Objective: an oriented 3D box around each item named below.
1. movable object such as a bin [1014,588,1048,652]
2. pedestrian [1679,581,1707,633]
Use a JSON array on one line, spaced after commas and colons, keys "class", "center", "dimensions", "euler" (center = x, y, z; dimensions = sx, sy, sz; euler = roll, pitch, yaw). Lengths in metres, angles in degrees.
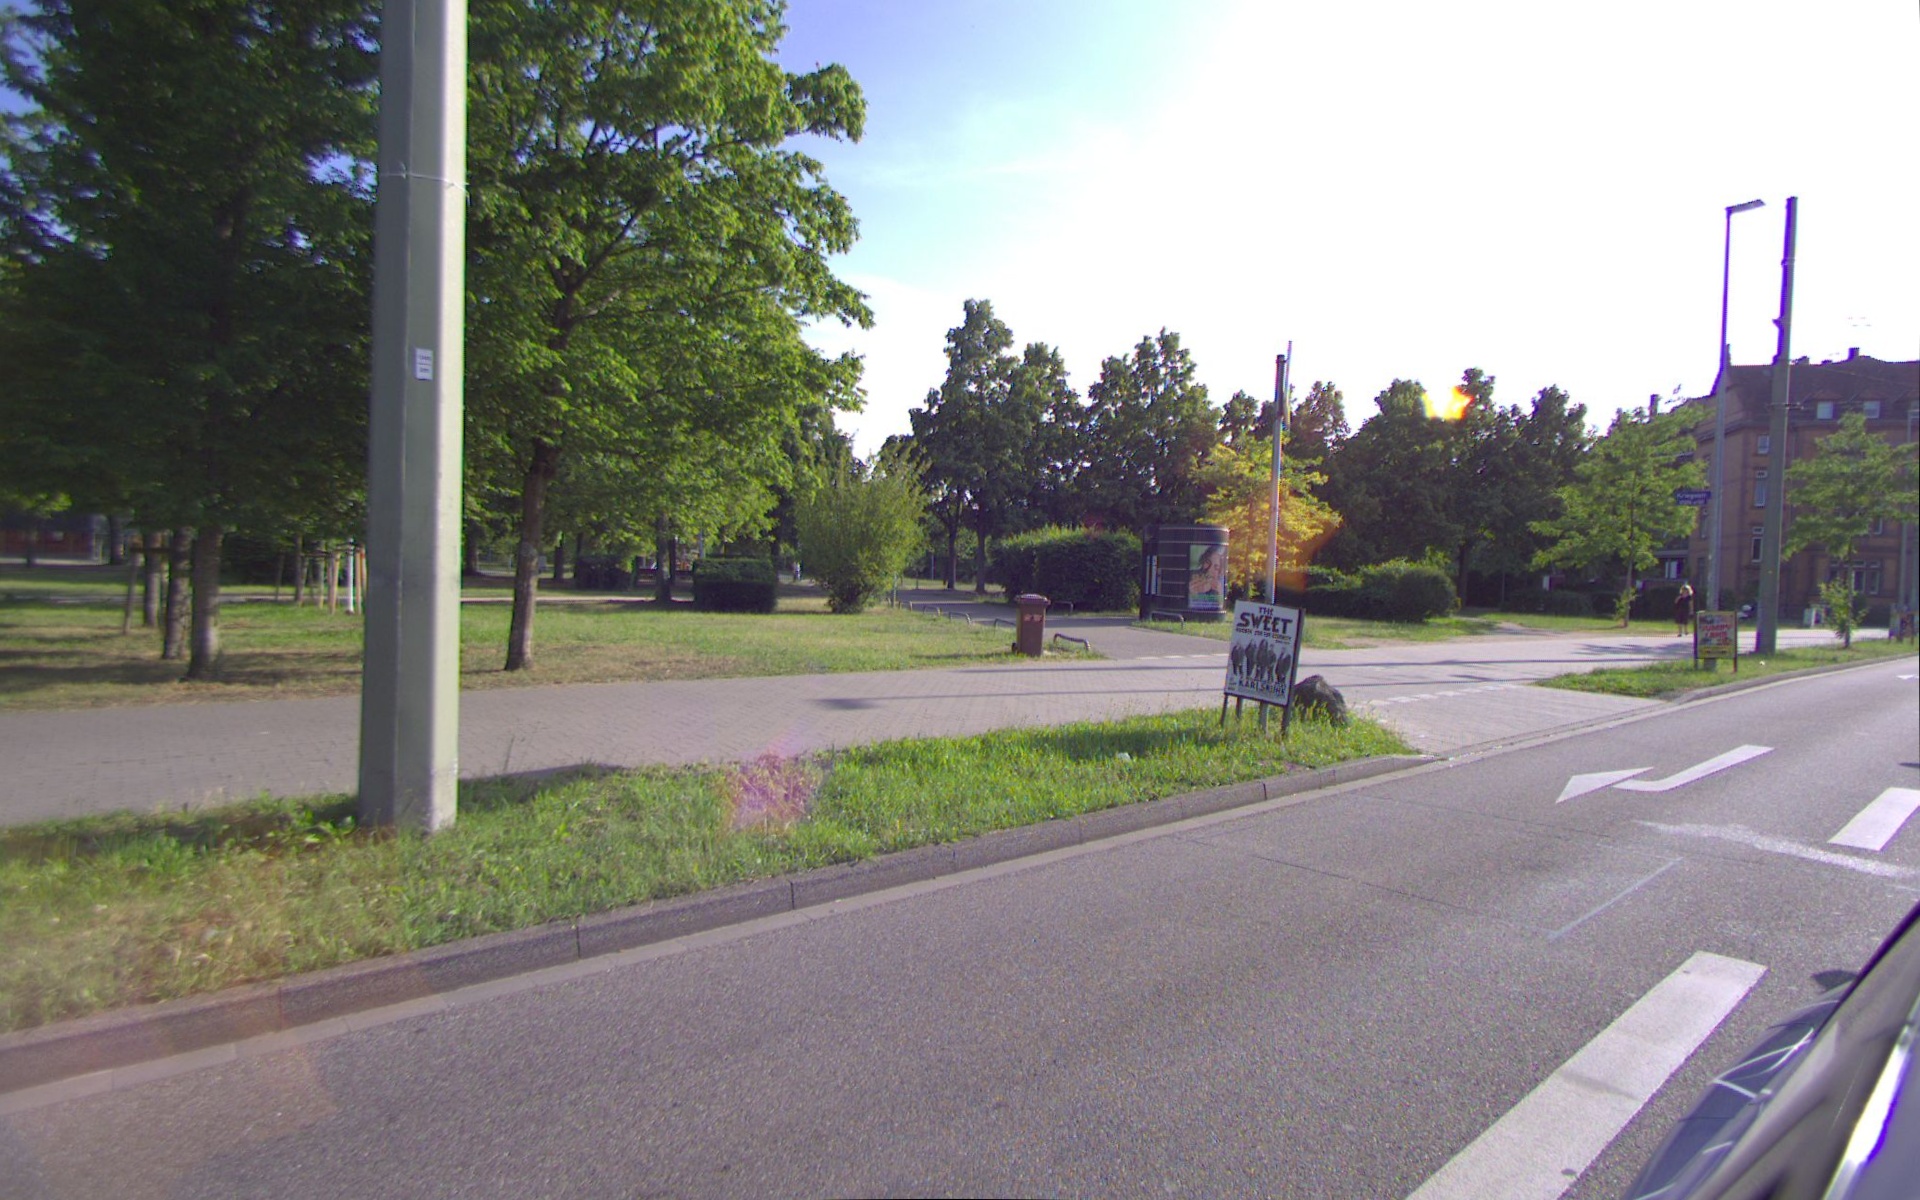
[{"class": "movable object such as a bin", "center": [1.072, 0.295, 15.421], "dimensions": [0.448, 0.929, 0.605], "euler": [2, 2, 1]}, {"class": "pedestrian", "center": [24.668, 0.226, 34.053], "dimensions": [0.607, 1.706, 0.621], "euler": [1, 0, -40]}]
